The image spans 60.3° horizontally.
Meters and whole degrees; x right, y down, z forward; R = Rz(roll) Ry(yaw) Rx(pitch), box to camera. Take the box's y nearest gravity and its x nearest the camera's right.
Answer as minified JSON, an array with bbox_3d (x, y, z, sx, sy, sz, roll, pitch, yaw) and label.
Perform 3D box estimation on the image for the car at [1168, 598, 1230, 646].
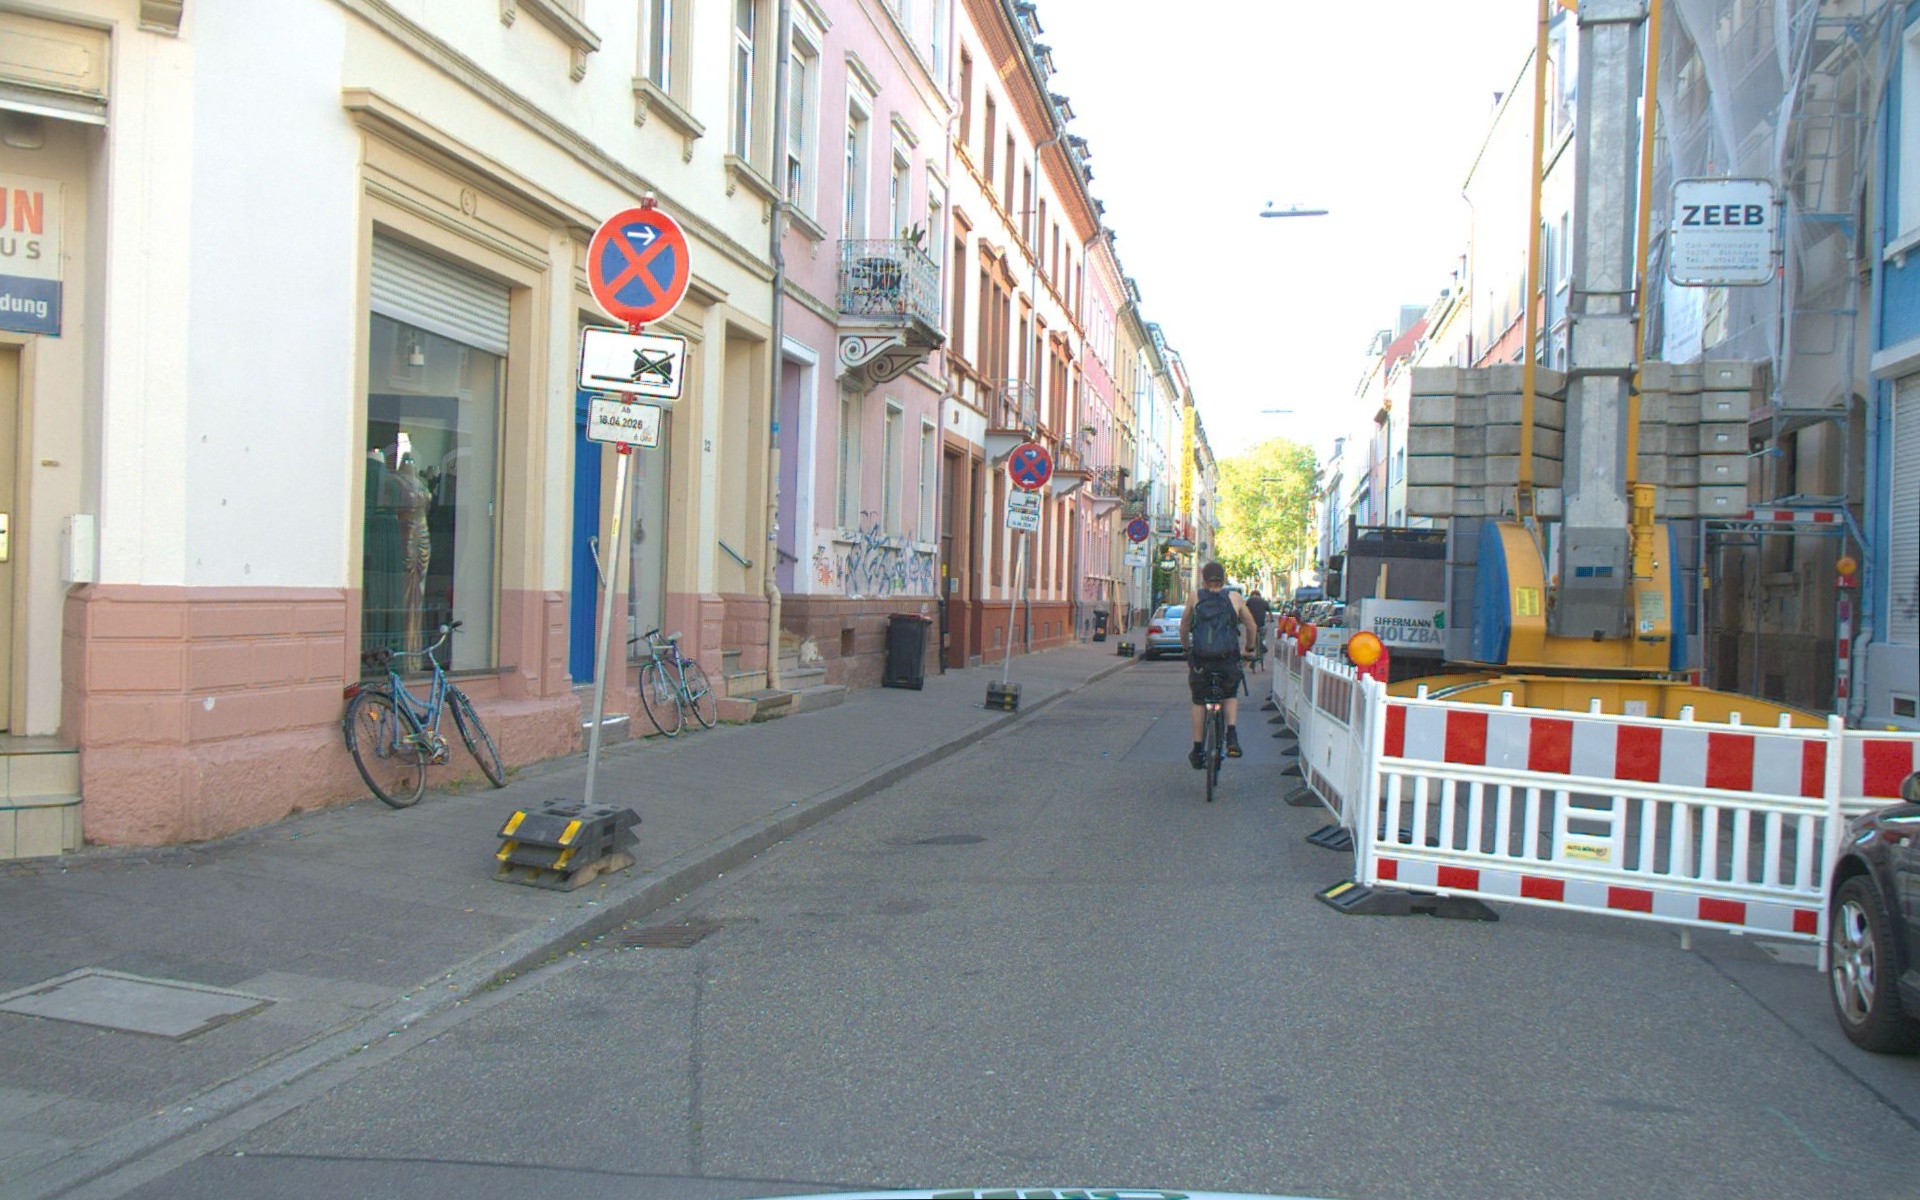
[{"bbox_3d":[7.954,0.693,54.730,1.674,1.407,4.360,1,2,13],"label":"car"}]

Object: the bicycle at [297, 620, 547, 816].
[{"bbox_3d":[-3.287,0.679,10.300,0.590,1.040,1.819,5,1,11],"label":"bicycle"}]

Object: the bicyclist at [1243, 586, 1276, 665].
[{"bbox_3d":[6.331,0.523,34.975,0.687,1.633,0.813,0,1,10],"label":"bicyclist"}]

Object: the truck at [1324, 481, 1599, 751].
[{"bbox_3d":[6.339,0.155,21.982,2.605,2.863,7.399,3,1,11],"label":"truck"}]

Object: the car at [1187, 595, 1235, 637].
[{"bbox_3d":[9.322,0.568,61.240,1.636,1.467,4.169,-1,0,10],"label":"car"}]

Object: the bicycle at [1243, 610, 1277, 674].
[{"bbox_3d":[6.332,0.860,34.969,0.687,1.229,2.344,0,2,10],"label":"bicycle"}]

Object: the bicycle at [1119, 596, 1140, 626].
[{"bbox_3d":[6.506,0.429,63.502,0.580,1.107,2.081,3,0,11],"label":"bicycle"}]

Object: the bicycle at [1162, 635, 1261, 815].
[{"bbox_3d":[2.020,0.923,13.083,0.687,1.229,2.344,1,0,11],"label":"bicycle"}]

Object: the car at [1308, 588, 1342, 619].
[{"bbox_3d":[18.993,0.166,86.190,1.586,1.577,4.003,-1,0,10],"label":"car"}]

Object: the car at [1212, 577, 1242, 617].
[{"bbox_3d":[17.394,-0.228,107.970,1.869,2.540,4.169,0,1,8],"label":"car"}]

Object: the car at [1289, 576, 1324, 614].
[{"bbox_3d":[24.734,-0.360,118.196,2.258,2.582,6.775,-1,0,10],"label":"car"}]

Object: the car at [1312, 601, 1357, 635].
[{"bbox_3d":[16.127,0.758,71.350,1.674,1.407,4.003,-1,0,10],"label":"car"}]

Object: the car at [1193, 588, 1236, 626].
[{"bbox_3d":[10.337,0.281,67.035,1.636,1.467,3.771,-1,0,10],"label":"car"}]

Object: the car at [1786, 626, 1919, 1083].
[{"bbox_3d":[3.893,0.883,4.586,1.734,1.459,4.037,2,1,10],"label":"car"}]

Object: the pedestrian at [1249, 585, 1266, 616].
[{"bbox_3d":[15.552,0.034,86.376,0.754,1.606,0.901,2,0,7],"label":"pedestrian"}]

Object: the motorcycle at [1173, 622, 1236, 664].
[{"bbox_3d":[8.631,1.511,58.480,2.106,1.383,0.539,-2,1,-8],"label":"motorcycle"}]

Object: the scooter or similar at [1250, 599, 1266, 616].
[{"bbox_3d":[15.478,0.385,85.862,0.754,0.888,0.771,3,0,7],"label":"scooter or similar"}]

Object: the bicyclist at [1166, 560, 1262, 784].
[{"bbox_3d":[1.997,0.535,12.908,0.687,1.662,1.091,1,0,11],"label":"bicyclist"}]

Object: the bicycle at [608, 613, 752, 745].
[{"bbox_3d":[-2.477,0.674,14.836,0.609,1.040,1.820,5,1,11],"label":"bicycle"}]

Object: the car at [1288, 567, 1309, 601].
[{"bbox_3d":[38.804,-1.808,189.717,2.258,3.833,6.775,-1,0,10],"label":"car"}]

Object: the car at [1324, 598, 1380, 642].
[{"bbox_3d":[14.368,0.725,60.730,1.778,1.548,4.003,-1,0,10],"label":"car"}]

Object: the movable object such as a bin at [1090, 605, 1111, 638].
[{"bbox_3d":[4.285,0.646,50.338,0.532,0.961,0.488,3,0,11],"label":"movable object such as a bin"}]

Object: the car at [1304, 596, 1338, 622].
[{"bbox_3d":[19.922,0.478,91.380,1.674,1.418,4.003,-1,0,10],"label":"car"}]

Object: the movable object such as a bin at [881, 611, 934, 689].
[{"bbox_3d":[-0.735,0.693,23.314,0.592,1.053,0.597,3,0,9],"label":"movable object such as a bin"}]

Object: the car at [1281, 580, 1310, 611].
[{"bbox_3d":[29.017,-0.413,143.301,2.258,2.582,6.775,-1,0,10],"label":"car"}]

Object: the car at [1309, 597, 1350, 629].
[{"bbox_3d":[17.098,0.588,76.721,1.674,1.407,4.003,-1,0,10],"label":"car"}]

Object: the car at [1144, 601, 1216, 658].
[{"bbox_3d":[5.917,0.757,44.200,1.674,1.407,4.509,-1,0,10],"label":"car"}]
